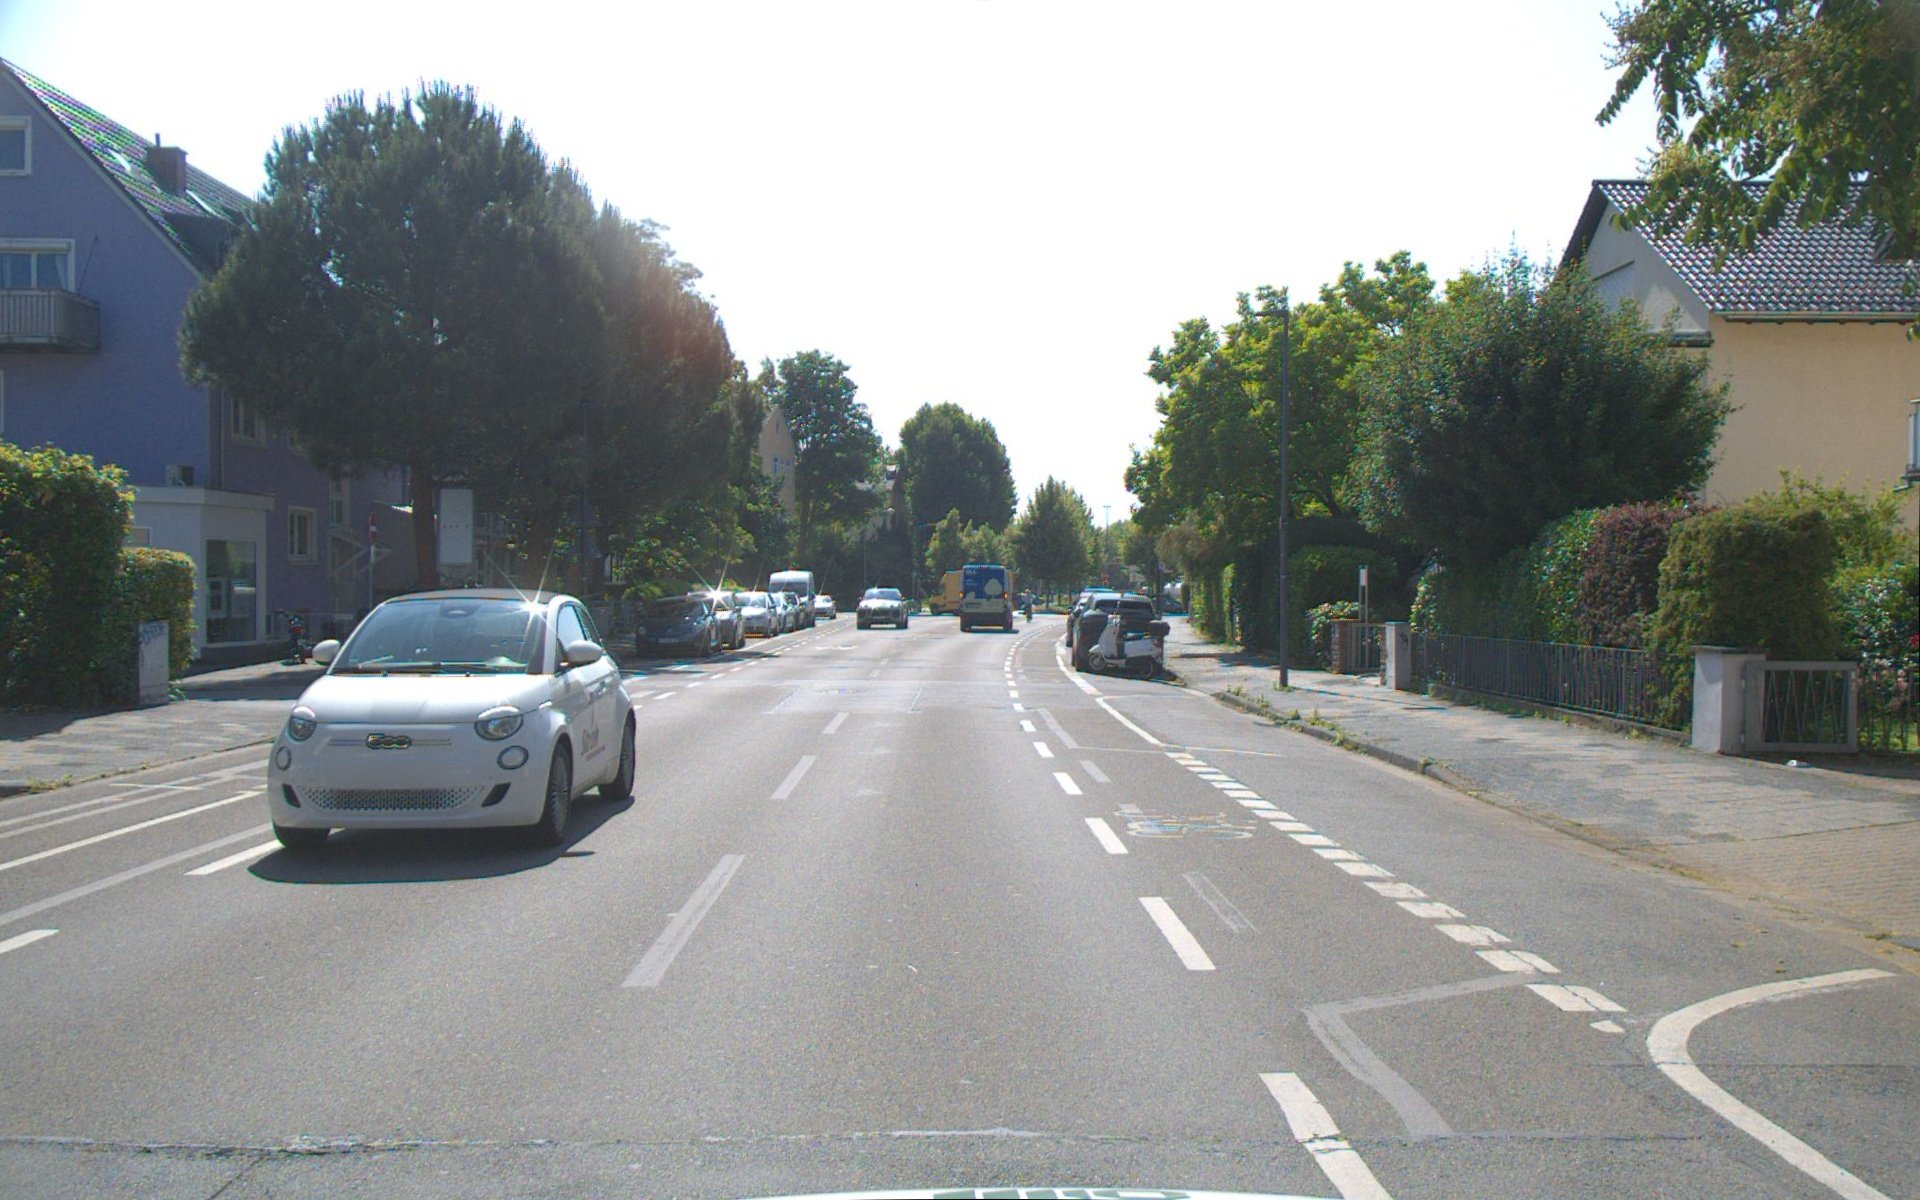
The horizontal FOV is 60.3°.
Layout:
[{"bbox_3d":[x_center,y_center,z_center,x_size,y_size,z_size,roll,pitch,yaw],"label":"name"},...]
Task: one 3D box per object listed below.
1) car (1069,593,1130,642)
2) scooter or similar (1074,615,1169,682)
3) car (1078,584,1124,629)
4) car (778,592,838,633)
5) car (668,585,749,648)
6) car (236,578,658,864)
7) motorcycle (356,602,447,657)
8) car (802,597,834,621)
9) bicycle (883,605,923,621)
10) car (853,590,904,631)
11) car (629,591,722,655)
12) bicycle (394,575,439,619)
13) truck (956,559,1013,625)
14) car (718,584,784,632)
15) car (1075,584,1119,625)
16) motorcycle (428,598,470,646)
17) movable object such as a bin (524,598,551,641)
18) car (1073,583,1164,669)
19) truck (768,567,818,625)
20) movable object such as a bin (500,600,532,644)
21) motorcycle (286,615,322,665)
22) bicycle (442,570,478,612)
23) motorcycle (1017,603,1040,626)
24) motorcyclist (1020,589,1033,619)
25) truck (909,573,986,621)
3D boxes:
[{"bbox_3d":[4.213,0.503,50.423,1.747,1.424,4.326,1,0,4],"label":"car"},{"bbox_3d":[3.195,0.948,32.806,1.767,1.174,0.715,4,0,44],"label":"scooter or similar"},{"bbox_3d":[5.560,0.243,64.982,1.664,1.706,3.777,1,0,6],"label":"car"},{"bbox_3d":[-5.902,0.467,64.502,1.796,1.522,3.655,1,0,3],"label":"car"},{"bbox_3d":[-7.181,0.442,47.620,1.870,1.706,4.256,-1,1,-3],"label":"car"},{"bbox_3d":[-3.216,0.683,11.198,1.697,1.568,3.998,-1,0,-2],"label":"car"},{"bbox_3d":[-12.491,0.665,36.997,1.800,1.202,0.643,1,-1,4],"label":"motorcycle"},{"bbox_3d":[-8.360,0.496,97.497,1.719,1.367,3.652,1,0,-2],"label":"car"},{"bbox_3d":[-3.960,0.929,114.896,2.638,1.066,1.024,1,-1,-9],"label":"bicycle"},{"bbox_3d":[-3.490,0.426,71.329,1.953,1.686,4.604,1,0,0],"label":"car"},{"bbox_3d":[-7.135,0.545,41.832,1.745,1.485,4.084,-1,0,-2],"label":"car"},{"bbox_3d":[-15.320,-0.104,46.625,0.525,1.202,1.448,1,2,14],"label":"bicycle"},{"bbox_3d":[1.046,-0.311,68.313,2.225,2.616,4.393,1,0,2],"label":"truck"},{"bbox_3d":[-7.348,0.298,58.504,1.797,1.623,3.775,1,-1,0],"label":"car"},{"bbox_3d":[5.791,0.193,70.119,1.665,1.706,3.776,1,0,2],"label":"car"},{"bbox_3d":[-13.053,0.559,42.288,0.525,1.202,1.447,0,-1,5],"label":"motorcycle"},{"bbox_3d":[-11.331,0.528,44.385,0.532,1.131,0.585,0,-1,5],"label":"movable object such as a bin"},{"bbox_3d":[3.483,0.532,35.633,1.747,1.666,4.473,3,0,7],"label":"car"},{"bbox_3d":[-7.624,-0.180,75.895,2.039,2.582,5.463,1,0,-4],"label":"truck"},{"bbox_3d":[-11.542,0.579,42.991,0.592,1.131,0.663,1,-1,5],"label":"movable object such as a bin"},{"bbox_3d":[-14.312,0.846,36.053,0.632,1.008,2.338,1,0,-24],"label":"motorcycle"},{"bbox_3d":[-14.403,-0.254,47.701,0.525,1.202,1.447,1,-1,3],"label":"bicycle"},{"bbox_3d":[3.528,0.755,85.910,1.035,1.142,2.991,1,0,-1],"label":"motorcycle"},{"bbox_3d":[3.458,0.232,85.844,0.658,1.545,0.652,1,-1,0],"label":"motorcyclist"},{"bbox_3d":[-0.850,-0.198,106.278,2.195,2.998,5.617,1,-1,-34],"label":"truck"}]
